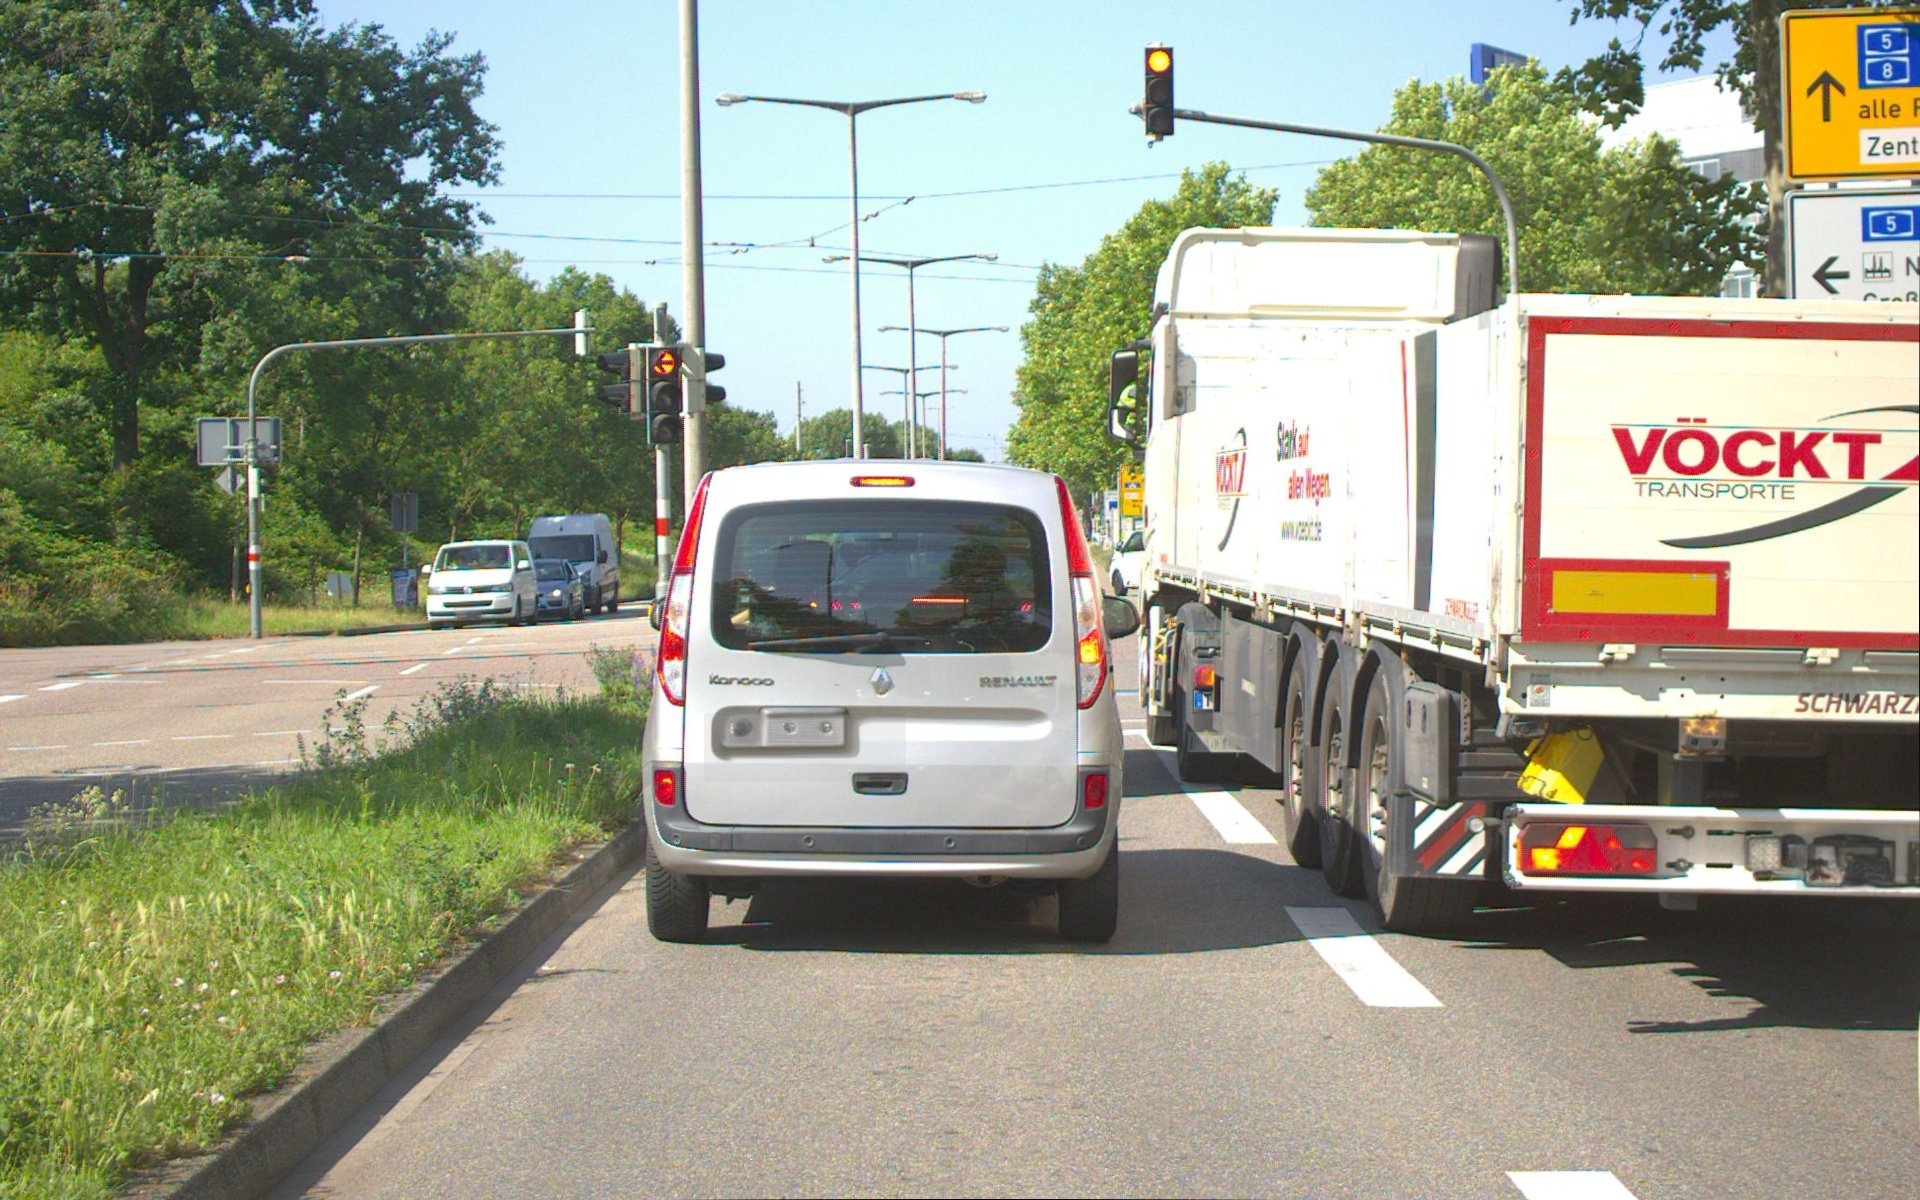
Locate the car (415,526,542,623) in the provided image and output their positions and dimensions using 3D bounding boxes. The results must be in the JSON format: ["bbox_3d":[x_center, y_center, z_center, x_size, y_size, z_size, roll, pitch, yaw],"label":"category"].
[{"bbox_3d":[-10.236,-0.560,73.432,1.993,1.884,4.988,-3,1,-1],"label":"car"}]

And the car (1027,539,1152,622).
[{"bbox_3d":[2.585,-0.411,69.419,1.993,1.634,4.001,0,1,-6],"label":"car"}]

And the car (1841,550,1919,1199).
[{"bbox_3d":[2.702,0.636,5.648,1.661,1.431,3.520,0,1,1],"label":"car"}]

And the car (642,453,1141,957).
[{"bbox_3d":[-0.264,0.343,14.047,1.749,1.766,3.949,0,1,-1],"label":"car"}]

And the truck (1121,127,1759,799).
[{"bbox_3d":[2.856,-0.811,22.932,3.071,3.745,7.477,0,1,-1],"label":"truck"}]

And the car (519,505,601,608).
[{"bbox_3d":[-10.424,-1.139,89.771,2.058,2.605,5.871,0,1,-6],"label":"car"}]

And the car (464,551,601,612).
[{"bbox_3d":[-10.198,-0.460,81.838,1.911,1.404,4.228,0,1,-27],"label":"car"}]

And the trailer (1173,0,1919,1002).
[{"bbox_3d":[2.883,-0.786,16.045,3.016,3.728,12.240,0,1,0],"label":"trailer"}]
